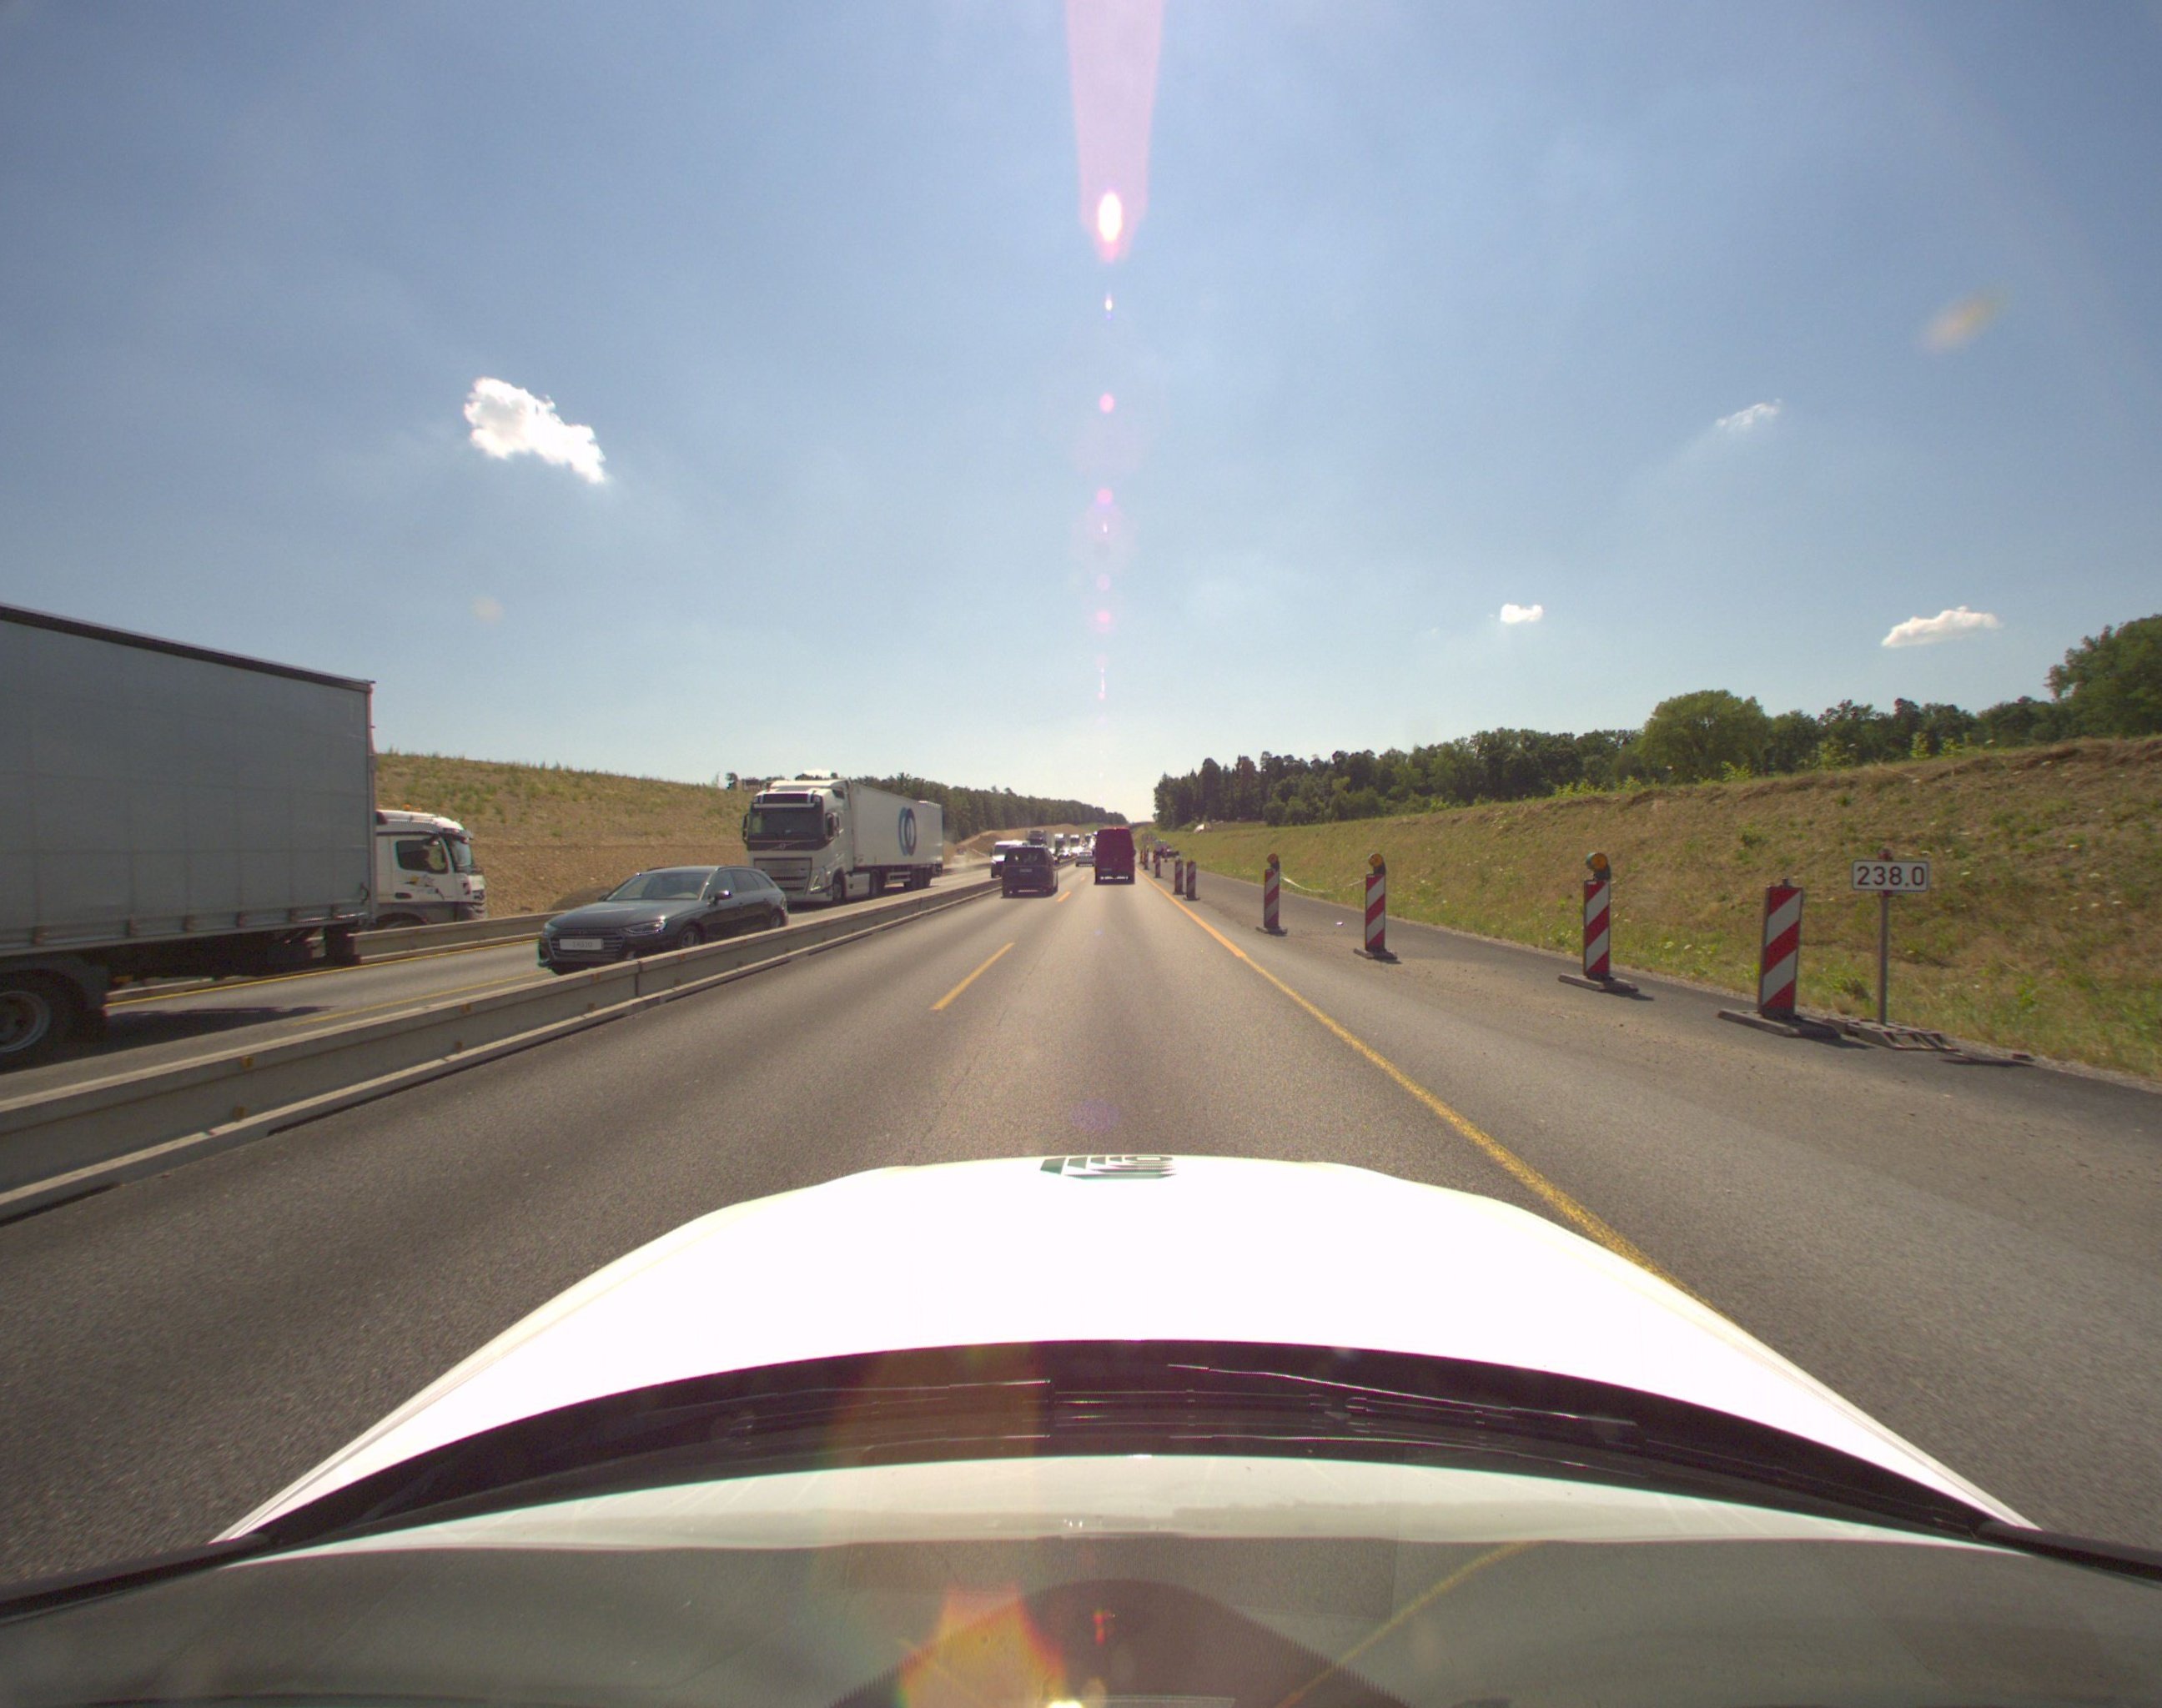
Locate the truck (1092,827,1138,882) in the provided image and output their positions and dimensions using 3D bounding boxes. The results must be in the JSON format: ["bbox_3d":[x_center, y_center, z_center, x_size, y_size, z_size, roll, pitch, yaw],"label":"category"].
[{"bbox_3d":[1.619,0.027,40.870,2.146,2.590,5.333,0,0,1],"label":"truck"}]

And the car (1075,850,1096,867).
[{"bbox_3d":[0.470,0.430,76.915,1.824,1.522,3.963,0,0,2],"label":"car"}]

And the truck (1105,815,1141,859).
[{"bbox_3d":[5.579,-2.054,108.612,4.383,5.496,16.612,0,0,2],"label":"truck"}]

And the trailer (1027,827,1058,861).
[{"bbox_3d":[-5.099,-1.257,110.544,2.492,4.179,15.545,-2,0,3],"label":"trailer"}]

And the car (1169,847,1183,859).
[{"bbox_3d":[13.545,-0.159,116.205,1.647,1.426,4.549,-3,1,3],"label":"car"}]

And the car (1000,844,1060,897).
[{"bbox_3d":[-1.822,0.539,30.735,1.744,1.824,4.785,0,1,2],"label":"car"}]

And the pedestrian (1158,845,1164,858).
[{"bbox_3d":[11.391,-0.306,115.720,0.642,1.828,0.555,0,1,-19],"label":"pedestrian"}]

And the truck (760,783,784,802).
[{"bbox_3d":[-56.536,-11.199,148.914,2.311,2.749,8.814,0,0,-33],"label":"truck"}]

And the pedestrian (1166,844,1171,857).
[{"bbox_3d":[12.862,-0.554,119.387,0.624,1.828,0.640,0,1,-10],"label":"pedestrian"}]

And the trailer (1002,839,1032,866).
[{"bbox_3d":[-6.698,-0.198,86.499,2.302,2.686,6.759,-2,0,2],"label":"trailer"}]

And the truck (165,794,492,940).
[{"bbox_3d":[-16.951,0.262,18.864,5.076,2.964,2.563,0,0,-29],"label":"truck"}]

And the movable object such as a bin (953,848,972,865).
[{"bbox_3d":[-23.176,0.369,160.197,2.159,3.109,7.171,-3,1,3],"label":"movable object such as a bin"}]

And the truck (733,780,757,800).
[{"bbox_3d":[-58.020,-10.983,140.469,2.371,2.898,8.280,0,0,-33],"label":"truck"}]

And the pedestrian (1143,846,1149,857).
[{"bbox_3d":[10.434,-0.422,130.806,0.725,1.828,0.715,0,-1,-18],"label":"pedestrian"}]

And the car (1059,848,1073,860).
[{"bbox_3d":[-2.030,0.051,109.645,1.682,1.613,4.595,0,0,2],"label":"car"}]

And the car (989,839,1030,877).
[{"bbox_3d":[-4.498,0.232,52.133,1.986,2.292,5.345,0,0,2],"label":"car"}]

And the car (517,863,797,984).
[{"bbox_3d":[-6.008,0.881,12.294,1.851,1.442,4.500,0,0,0],"label":"car"}]

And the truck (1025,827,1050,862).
[{"bbox_3d":[-5.456,-1.183,102.856,2.482,4.198,5.914,-2,0,2],"label":"truck"}]

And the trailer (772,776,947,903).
[{"bbox_3d":[-8.444,-0.460,33.702,2.843,4.093,13.659,-2,0,2],"label":"trailer"}]

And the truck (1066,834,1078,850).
[{"bbox_3d":[-2.223,-2.968,205.354,2.757,4.044,4.947,0,0,3],"label":"truck"}]

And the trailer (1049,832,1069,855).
[{"bbox_3d":[-4.018,-1.943,151.572,2.643,3.938,14.004,0,0,2],"label":"trailer"}]

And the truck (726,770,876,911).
[{"bbox_3d":[-8.788,-0.383,26.194,2.838,4.018,4.861,-2,0,2],"label":"truck"}]

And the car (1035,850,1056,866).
[{"bbox_3d":[-3.396,0.391,77.757,1.682,1.502,3.978,0,0,2],"label":"car"}]

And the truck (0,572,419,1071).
[{"bbox_3d":[-9.400,-0.238,4.990,2.634,3.716,9.487,0,0,2],"label":"truck"}]

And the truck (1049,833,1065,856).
[{"bbox_3d":[-4.289,-1.690,144.560,2.582,4.053,5.151,0,0,1],"label":"truck"}]

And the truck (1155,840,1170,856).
[{"bbox_3d":[13.458,-1.021,134.285,2.117,2.456,5.941,0,1,9],"label":"truck"}]
